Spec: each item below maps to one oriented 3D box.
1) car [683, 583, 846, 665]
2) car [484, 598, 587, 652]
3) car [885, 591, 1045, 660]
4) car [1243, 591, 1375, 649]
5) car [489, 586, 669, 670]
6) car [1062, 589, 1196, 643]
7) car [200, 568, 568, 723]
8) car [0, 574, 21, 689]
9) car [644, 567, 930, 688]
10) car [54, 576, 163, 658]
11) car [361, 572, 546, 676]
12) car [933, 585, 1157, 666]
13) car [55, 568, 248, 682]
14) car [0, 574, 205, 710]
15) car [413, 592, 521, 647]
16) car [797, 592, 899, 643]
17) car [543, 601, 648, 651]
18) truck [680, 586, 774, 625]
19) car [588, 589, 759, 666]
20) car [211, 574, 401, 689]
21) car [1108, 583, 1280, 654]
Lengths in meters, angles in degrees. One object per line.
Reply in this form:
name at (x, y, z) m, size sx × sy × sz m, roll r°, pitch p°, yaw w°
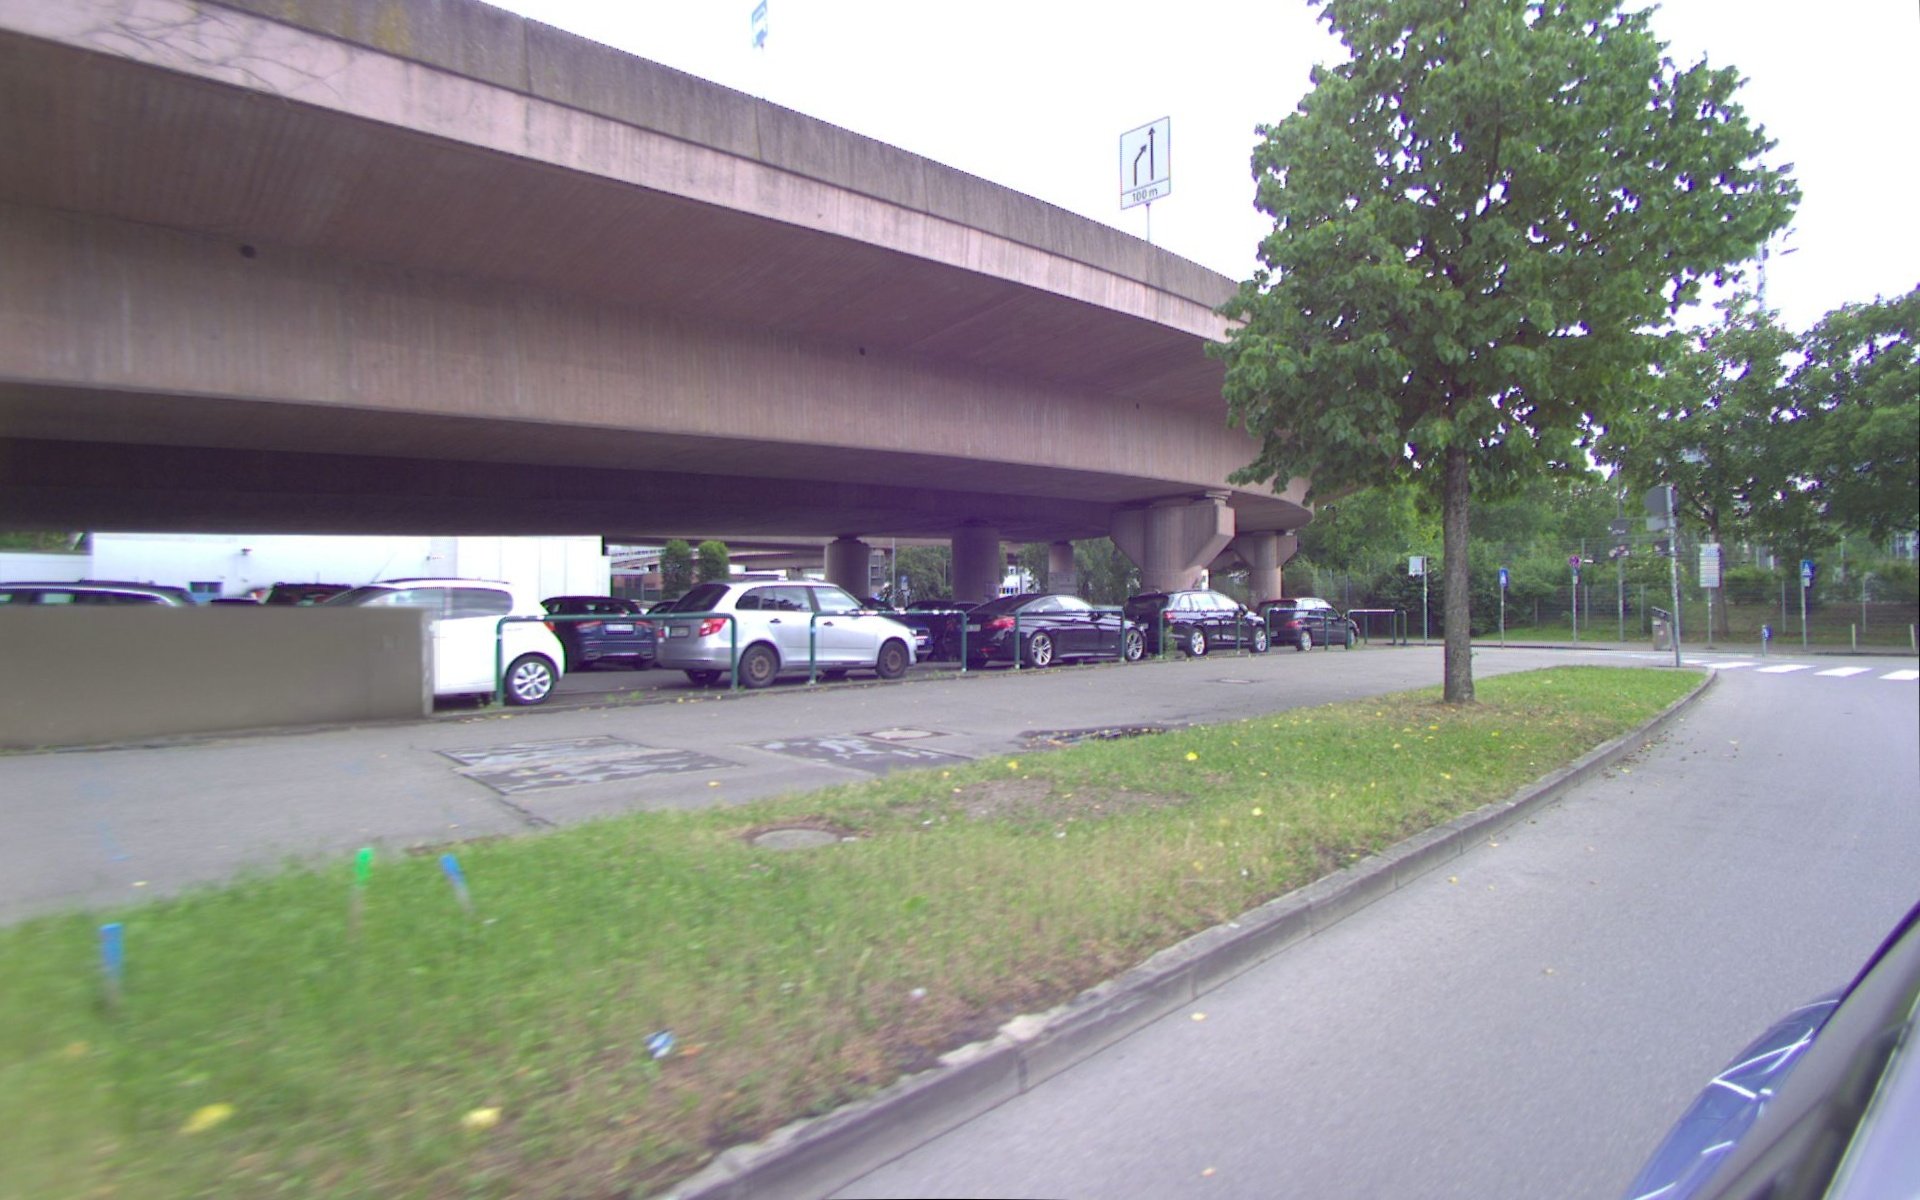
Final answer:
car at (-4.509, 0.539, 23.089) m, size 3.848 × 1.716 × 1.730 m, roll -1°, pitch -2°, yaw 43°
car at (-12.264, 0.720, 29.125) m, size 1.649 × 1.445 × 3.855 m, roll 1°, pitch -2°, yaw -40°
car at (0.071, 0.613, 25.127) m, size 3.848 × 1.575 × 1.730 m, roll -1°, pitch -2°, yaw 43°
car at (8.968, 0.507, 25.879) m, size 3.635 × 1.347 × 1.507 m, roll 0°, pitch -4°, yaw -41°
car at (-7.398, 0.524, 19.484) m, size 3.848 × 1.457 × 1.730 m, roll -1°, pitch -2°, yaw 43°
car at (5.260, 0.503, 31.870) m, size 1.612 × 1.572 × 4.001 m, roll 1°, pitch -2°, yaw -44°
car at (-6.308, 0.449, 11.247) m, size 3.318 × 1.458 × 1.576 m, roll 0°, pitch -2°, yaw -42°
car at (-14.309, 0.425, 13.948) m, size 3.848 × 1.497 × 1.730 m, roll -1°, pitch -2°, yaw 43°
car at (-2.446, 0.381, 14.992) m, size 1.612 × 1.555 × 4.004 m, roll -2°, pitch -2°, yaw 44°
car at (-20.449, 0.423, 24.341) m, size 1.850 × 1.811 × 3.657 m, roll 1°, pitch -2°, yaw -40°
car at (-9.076, 0.418, 18.014) m, size 3.848 × 1.659 × 1.730 m, roll -1°, pitch -2°, yaw 43°
car at (1.686, 0.453, 19.027) m, size 4.299 × 1.338 × 1.768 m, roll 0°, pitch -2°, yaw -43°
car at (-12.244, 0.362, 15.246) m, size 3.848 × 1.497 × 1.730 m, roll -1°, pitch -2°, yaw 43°
car at (-11.341, 0.472, 11.889) m, size 3.925 × 1.518 × 1.748 m, roll 1°, pitch -1°, yaw -37°
car at (-16.560, 0.643, 33.836) m, size 2.054 × 1.699 × 5.098 m, roll 1°, pitch -2°, yaw -40°
car at (-4.043, 0.630, 36.288) m, size 1.806 × 1.720 × 3.855 m, roll 1°, pitch -2°, yaw -40°
car at (-11.255, 0.782, 31.121) m, size 1.806 × 1.445 × 3.855 m, roll 1°, pitch -2°, yaw -40°
truck at (-27.190, 0.751, 118.464) m, size 9.950 × 4.423 × 3.909 m, roll 1°, pitch -2°, yaw -38°
car at (-6.054, 0.565, 21.187) m, size 3.848 × 1.453 × 1.730 m, roll -1°, pitch -2°, yaw 43°
car at (-10.800, 0.498, 16.610) m, size 3.848 × 1.659 × 1.730 m, roll -1°, pitch -2°, yaw 43°
car at (5.219, 0.399, 22.283) m, size 4.175 × 1.439 × 1.507 m, roll 0°, pitch -3°, yaw -42°
